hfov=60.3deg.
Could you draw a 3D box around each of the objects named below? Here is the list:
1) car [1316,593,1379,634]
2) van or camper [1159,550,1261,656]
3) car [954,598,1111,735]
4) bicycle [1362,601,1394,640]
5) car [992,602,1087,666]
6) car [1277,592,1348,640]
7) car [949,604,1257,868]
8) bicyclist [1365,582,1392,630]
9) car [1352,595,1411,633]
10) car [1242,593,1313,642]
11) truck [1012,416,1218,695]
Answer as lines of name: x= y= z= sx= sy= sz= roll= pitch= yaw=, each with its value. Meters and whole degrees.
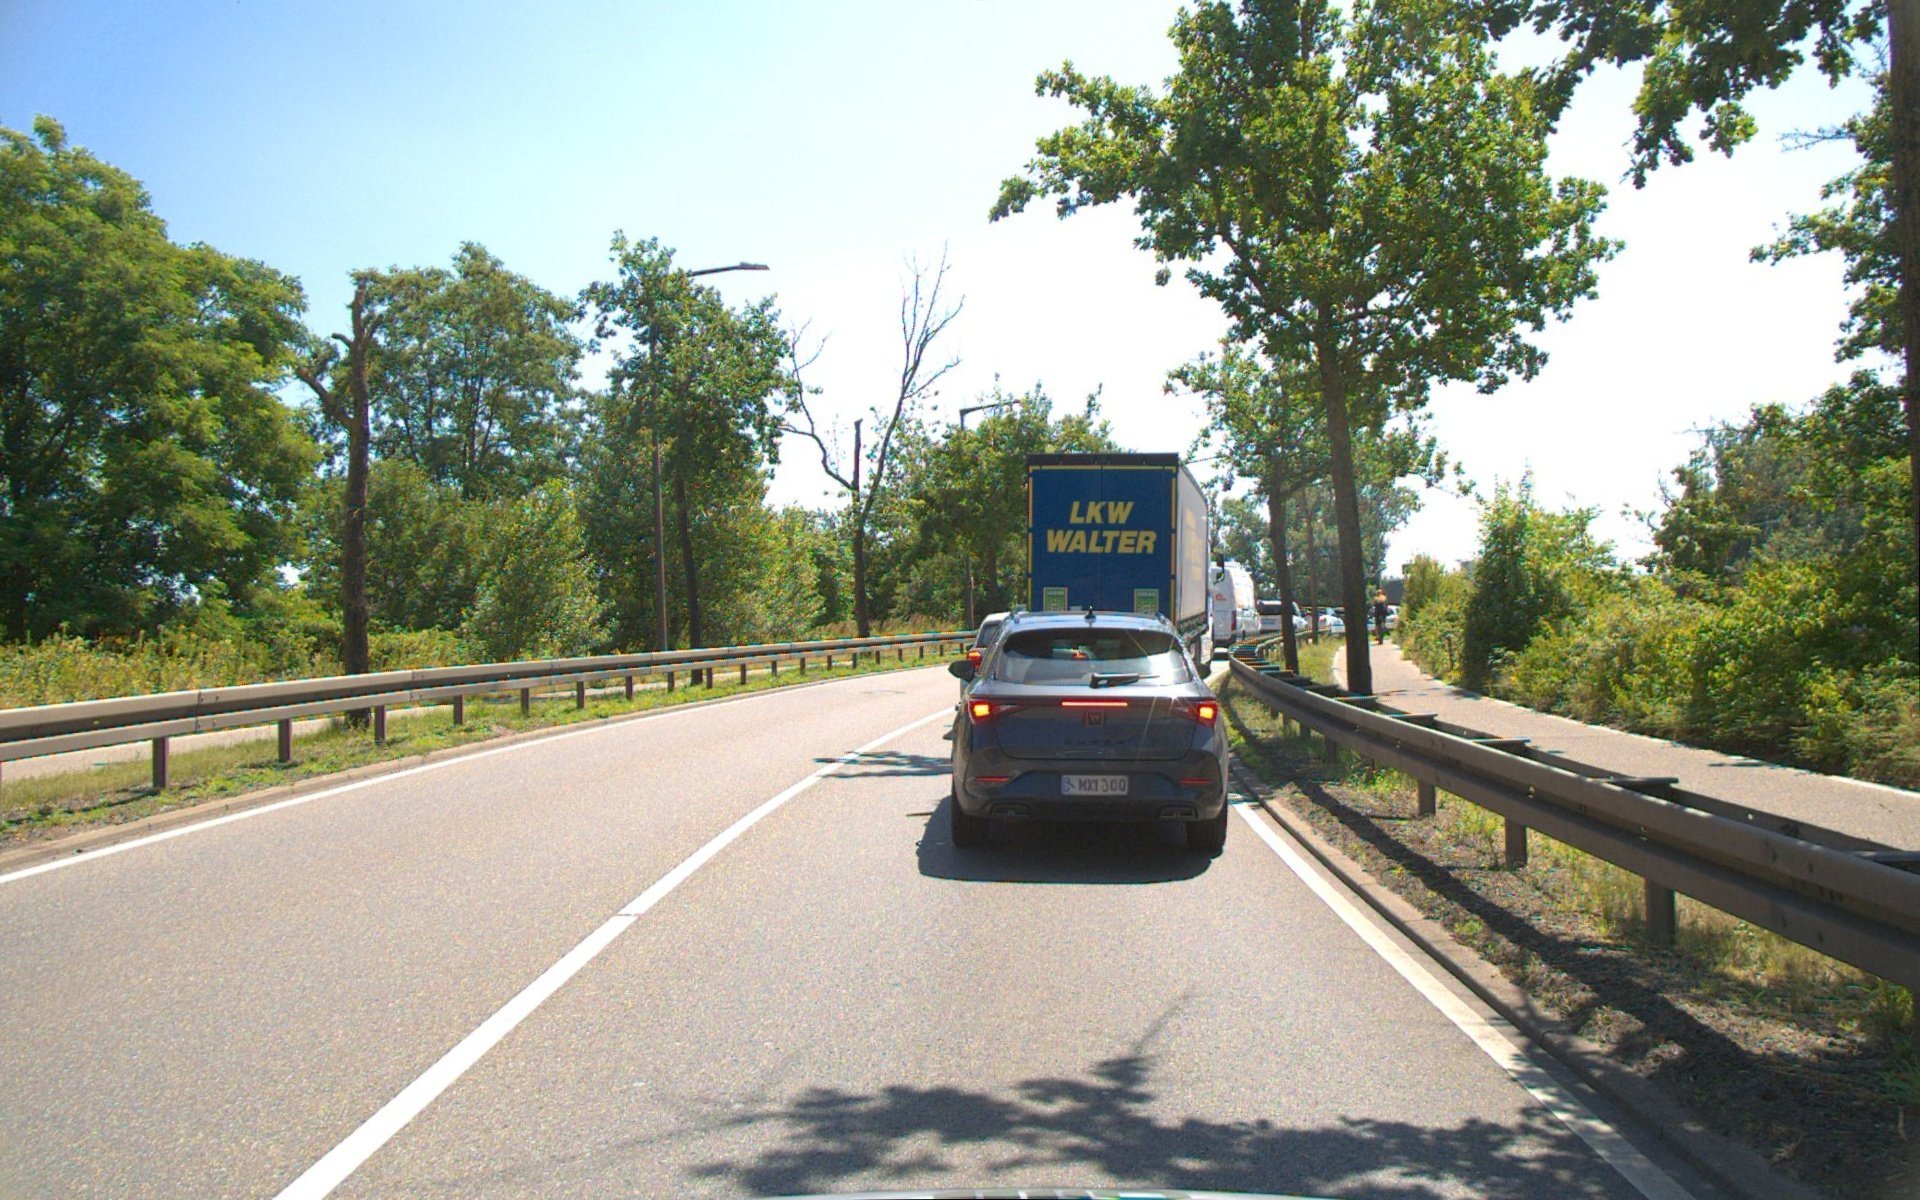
car: x=17.377 y=0.614 z=73.940 sx=1.953 sy=1.747 sz=4.867 roll=0 pitch=0 yaw=23
van or camper: x=7.785 y=0.100 z=50.972 sx=2.414 sy=3.051 sz=6.090 roll=0 pitch=0 yaw=15
car: x=0.931 y=0.767 z=20.767 sx=1.771 sy=1.534 sz=4.001 roll=1 pitch=0 yaw=3
bicycle: x=13.785 y=0.674 z=54.539 sx=0.842 sy=1.258 sz=2.310 roll=0 pitch=0 yaw=18
car: x=2.258 y=0.885 z=45.766 sx=1.829 sy=1.631 sz=4.396 roll=1 pitch=0 yaw=14
car: x=14.365 y=0.651 z=67.216 sx=1.953 sy=1.840 sz=4.844 roll=0 pitch=0 yaw=23
car: x=0.859 y=0.771 z=11.186 sx=1.708 sy=1.457 sz=3.881 roll=1 pitch=0 yaw=2
bicyclist: x=13.778 y=0.207 z=54.443 sx=0.842 sy=1.550 sz=0.981 roll=0 pitch=-1 yaw=17
car: x=20.465 y=0.685 z=80.185 sx=1.954 sy=1.799 sz=4.751 roll=0 pitch=0 yaw=25
car: x=11.739 y=0.637 z=60.944 sx=1.952 sy=1.742 sz=4.621 roll=0 pitch=0 yaw=19
truck: x=3.818 y=-0.664 z=35.360 sx=2.887 sy=4.527 sz=16.812 roll=0 pitch=0 yaw=10
